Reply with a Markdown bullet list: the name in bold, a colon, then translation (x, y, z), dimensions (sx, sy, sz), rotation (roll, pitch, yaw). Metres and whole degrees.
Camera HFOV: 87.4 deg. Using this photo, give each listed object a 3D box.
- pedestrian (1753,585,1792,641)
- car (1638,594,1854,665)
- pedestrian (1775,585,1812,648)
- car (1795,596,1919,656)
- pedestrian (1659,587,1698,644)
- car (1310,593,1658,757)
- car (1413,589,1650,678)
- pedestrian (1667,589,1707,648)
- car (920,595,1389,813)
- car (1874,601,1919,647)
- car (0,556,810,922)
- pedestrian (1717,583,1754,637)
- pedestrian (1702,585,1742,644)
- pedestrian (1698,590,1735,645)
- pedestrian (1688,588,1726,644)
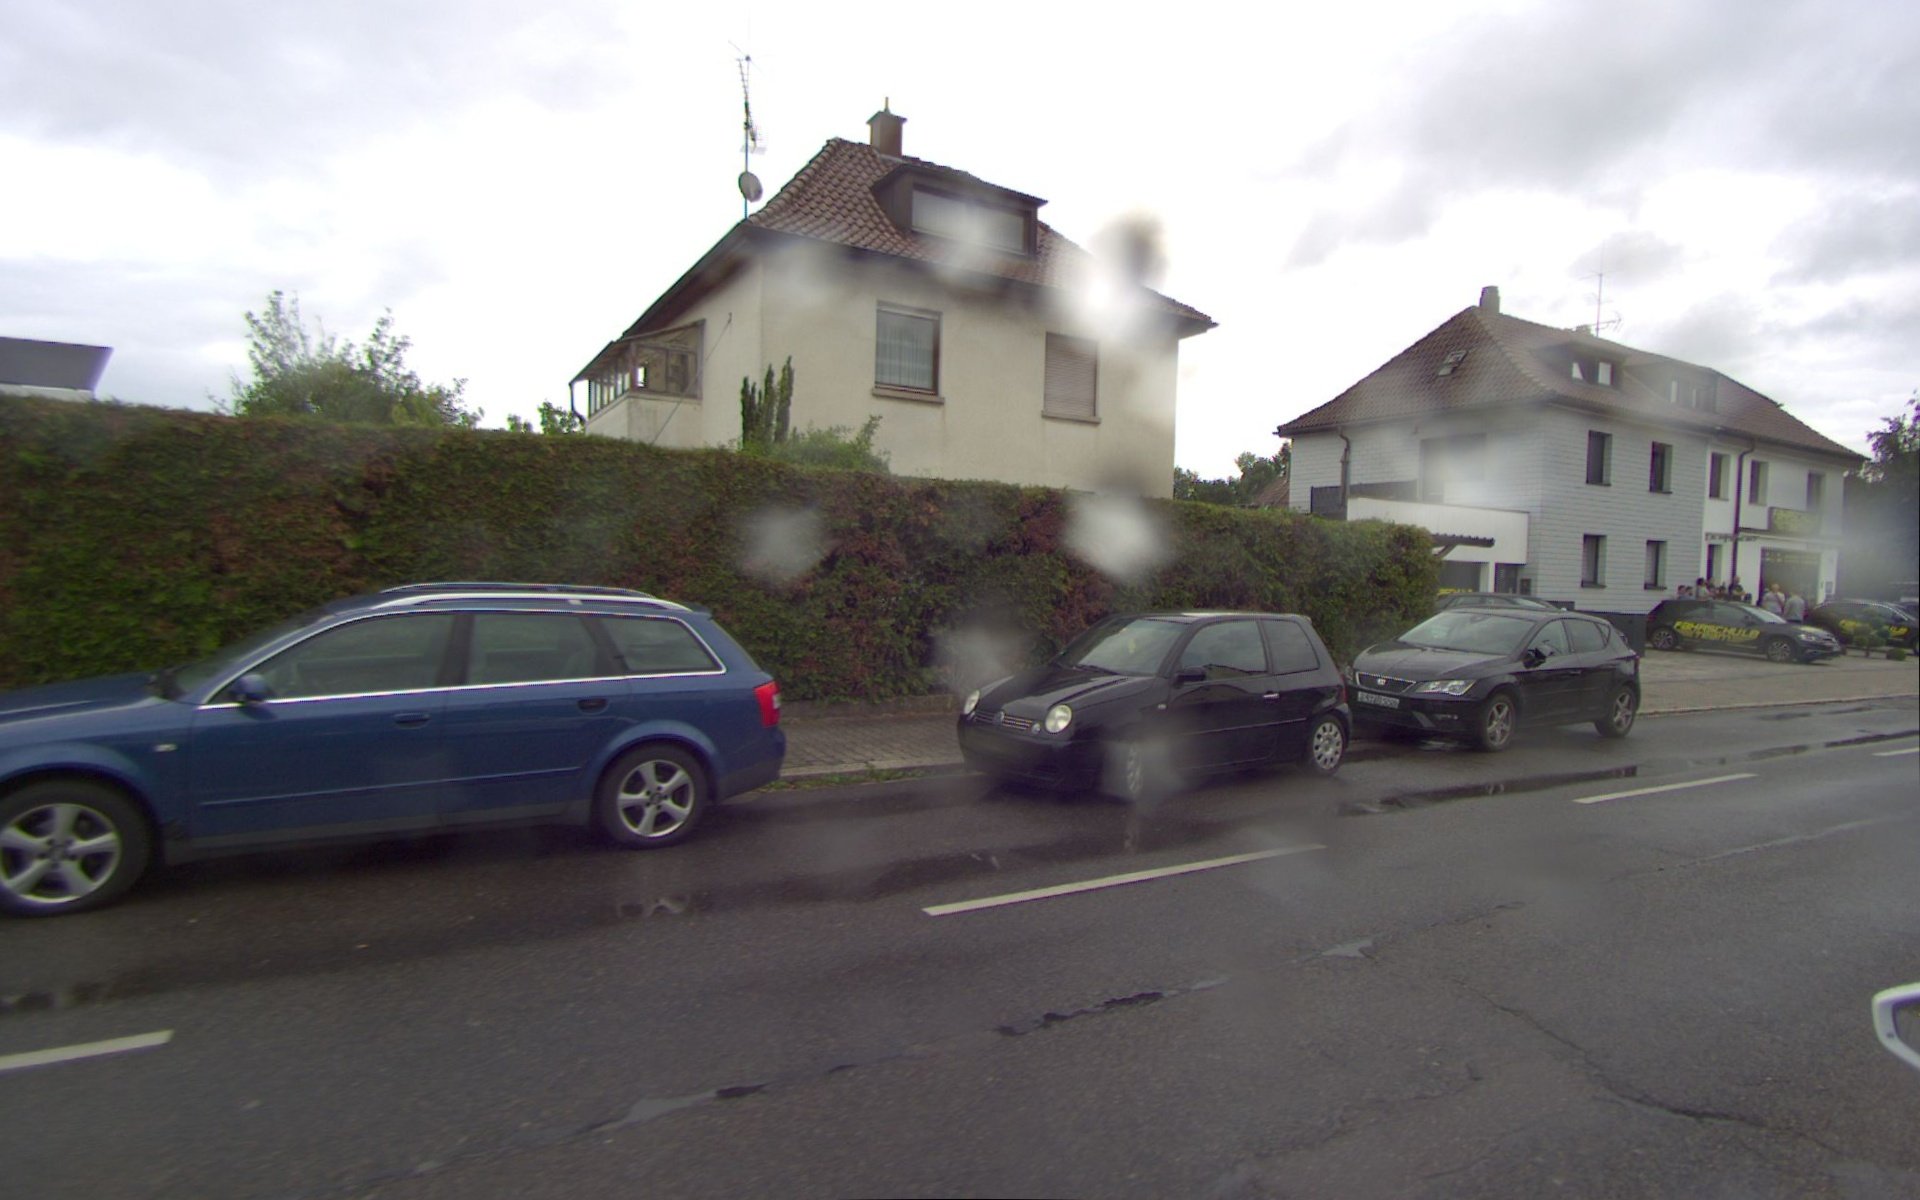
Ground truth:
- **pedestrian**: translation (25.254, 0.407, 31.229), dimensions (0.640, 1.688, 0.599), rotation (1, 4, -22)
- **car**: translation (20.581, 0.720, 26.472), dimensions (1.834, 1.536, 4.053), rotation (1, 2, -30)
- **pedestrian**: translation (24.996, 0.485, 30.125), dimensions (0.643, 1.815, 0.596), rotation (0, 4, -35)
- **car**: translation (29.110, 0.839, 31.485), dimensions (1.834, 1.536, 4.053), rotation (1, 5, -30)
- **pedestrian**: translation (21.794, 0.469, 30.471), dimensions (0.641, 1.688, 0.598), rotation (1, 4, -25)
- **car**: translation (6.125, 0.761, 11.608), dimensions (4.164, 1.553, 1.746), rotation (1, 1, -34)
- **car**: translation (12.030, 0.645, 21.419), dimensions (1.834, 1.536, 3.968), rotation (1, 2, -30)
- **pedestrian**: translation (21.442, 0.546, 29.645), dimensions (0.641, 1.688, 0.598), rotation (1, 4, -25)
- **car**: translation (1.766, 0.745, 8.578), dimensions (3.972, 1.450, 1.541), rotation (1, 1, -34)
- **car**: translation (34.964, 0.995, 35.051), dimensions (1.834, 1.536, 4.053), rotation (1, 5, -30)
- **car**: translation (-3.183, 0.601, 5.783), dimensions (4.237, 1.553, 1.748), rotation (1, 1, -31)
- **pedestrian**: translation (24.898, 0.312, 32.241), dimensions (0.641, 1.688, 0.598), rotation (1, 4, -25)
- **pedestrian**: translation (22.734, 0.437, 29.966), dimensions (0.641, 1.688, 0.598), rotation (1, 4, -25)
- **pedestrian**: translation (24.008, 0.544, 31.873), dimensions (0.641, 1.688, 0.598), rotation (1, 4, -25)
- **pedestrian**: translation (23.308, 0.508, 31.326), dimensions (0.641, 1.688, 0.598), rotation (1, 4, -25)
